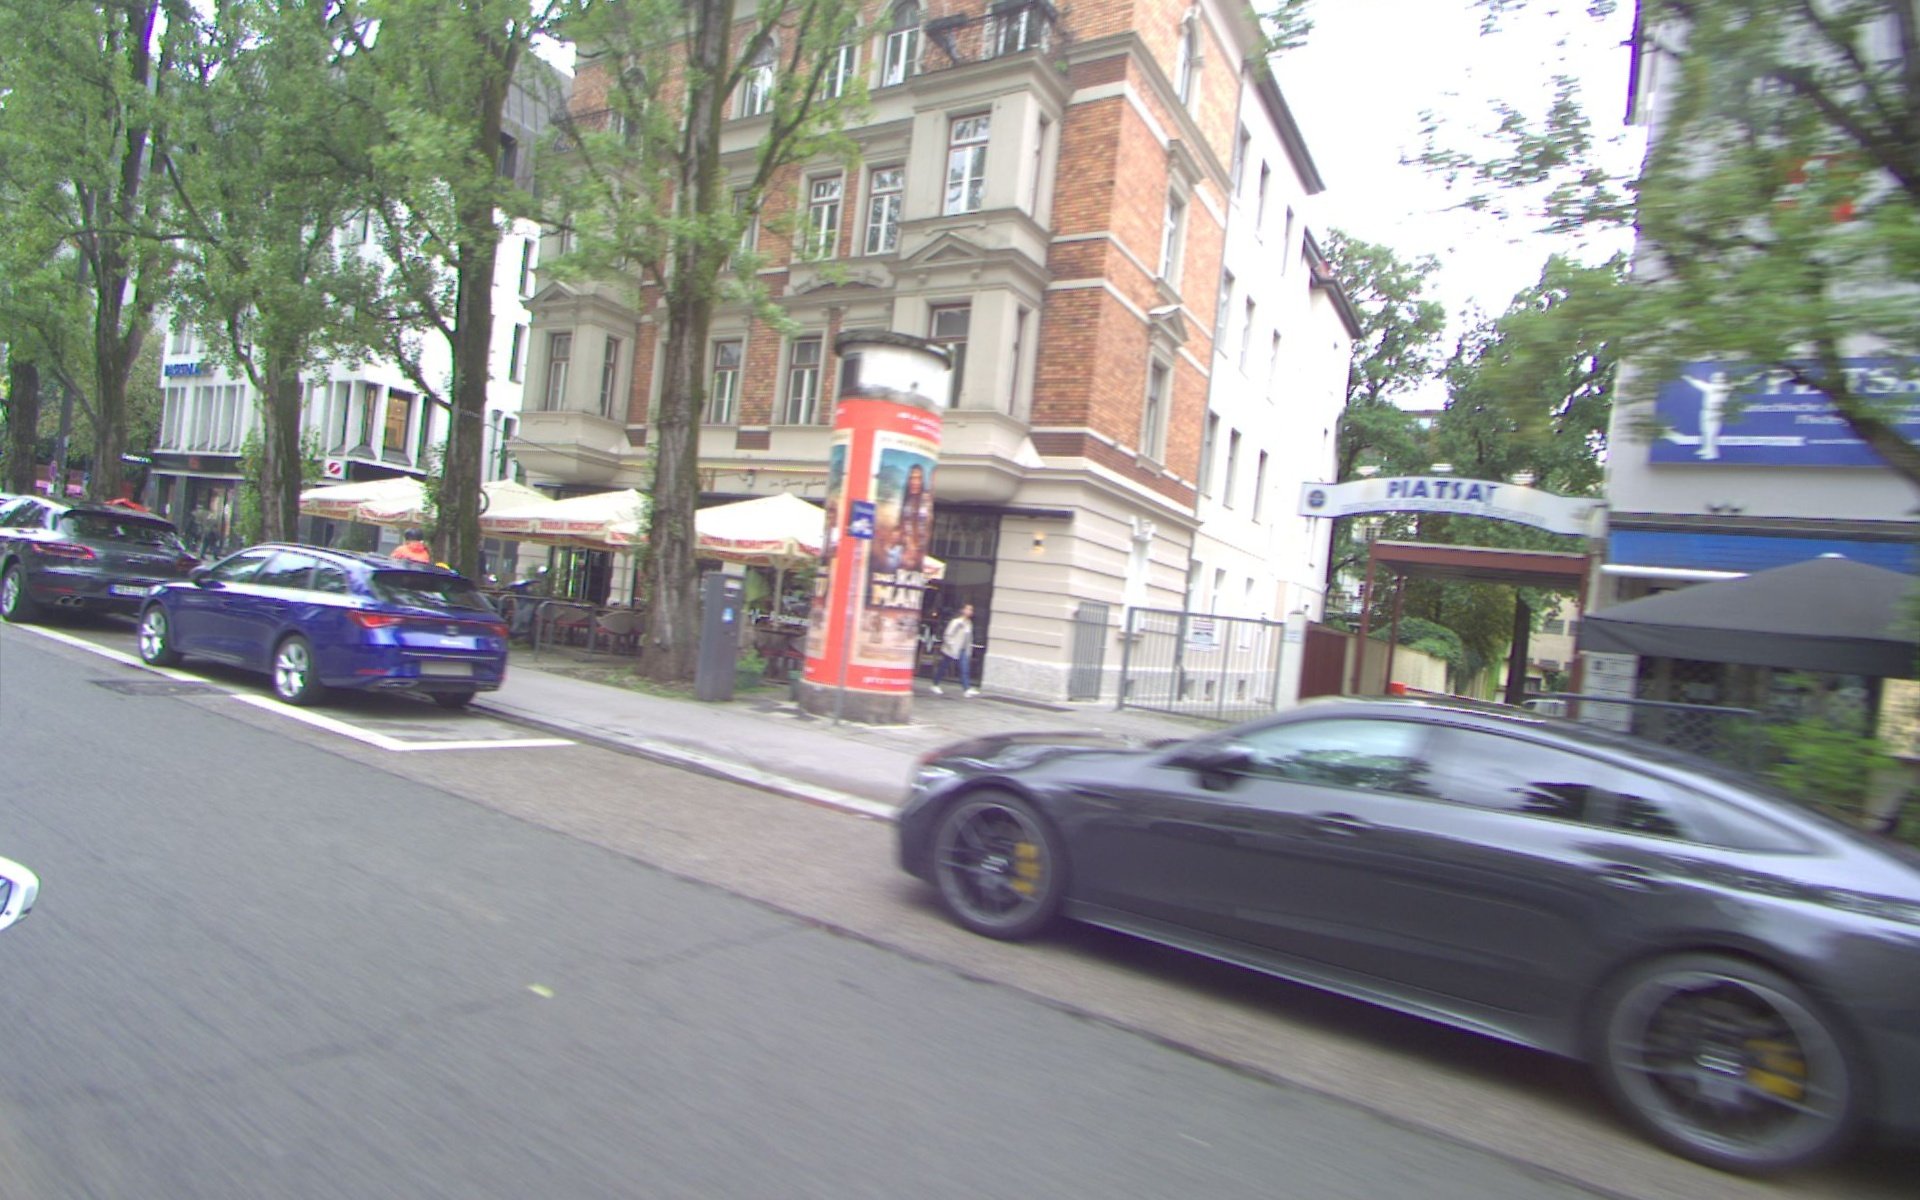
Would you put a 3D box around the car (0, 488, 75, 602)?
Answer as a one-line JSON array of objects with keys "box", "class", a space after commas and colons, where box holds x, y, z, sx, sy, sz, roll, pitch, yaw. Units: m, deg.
[{"box": [-16.601, -1.102, 16.389, 4.668, 1.640, 1.831, 7, -1, 31], "class": "car"}]

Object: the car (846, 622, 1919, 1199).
[{"box": [1.962, 1.135, 4.899, 4.723, 1.450, 1.881, 7, 0, 31], "class": "car"}]

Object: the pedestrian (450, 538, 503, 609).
[{"box": [-12.558, -0.690, 26.131, 0.916, 1.698, 0.730, 7, 1, 32], "class": "pedestrian"}]

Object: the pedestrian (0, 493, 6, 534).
[{"box": [-42.415, -3.855, 44.013, 0.845, 1.771, 0.654, 6, -1, 32], "class": "pedestrian"}]

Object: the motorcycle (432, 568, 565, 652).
[{"box": [-7.380, 0.194, 16.184, 0.683, 1.194, 1.834, 7, 0, 26], "class": "motorcycle"}]

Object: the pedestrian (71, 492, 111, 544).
[{"box": [-31.803, -2.989, 36.800, 0.845, 1.771, 0.728, 6, -1, 32], "class": "pedestrian"}]

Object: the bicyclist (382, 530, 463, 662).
[{"box": [-6.898, -0.040, 12.924, 0.473, 1.608, 0.622, 7, 1, 31], "class": "bicyclist"}]

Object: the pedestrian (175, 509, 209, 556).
[{"box": [-28.363, -2.491, 37.150, 0.692, 1.647, 0.654, 7, 1, 29], "class": "pedestrian"}]

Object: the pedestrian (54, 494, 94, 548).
[{"box": [-28.260, -2.519, 32.085, 0.693, 1.619, 0.655, 6, -1, 32], "class": "pedestrian"}]

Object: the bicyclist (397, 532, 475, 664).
[{"box": [-6.645, -0.013, 12.772, 0.385, 1.608, 0.622, 7, 1, 31], "class": "bicyclist"}]

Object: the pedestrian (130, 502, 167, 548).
[{"box": [-31.215, -2.877, 38.698, 0.753, 1.645, 0.736, 6, -1, 32], "class": "pedestrian"}]

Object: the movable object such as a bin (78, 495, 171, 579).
[{"box": [-19.483, -1.467, 23.464, 1.559, 1.724, 1.035, 7, 1, 28], "class": "movable object such as a bin"}]

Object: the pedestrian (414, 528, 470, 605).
[{"box": [-13.137, -0.852, 25.505, 0.916, 1.825, 0.730, 7, 1, 32], "class": "pedestrian"}]

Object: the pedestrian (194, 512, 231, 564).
[{"box": [-25.337, -2.083, 34.080, 0.692, 1.647, 0.654, 7, 1, 29], "class": "pedestrian"}]

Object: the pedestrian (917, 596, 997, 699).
[{"box": [-0.047, 0.822, 17.412, 0.974, 1.629, 0.730, 7, 1, 32], "class": "pedestrian"}]

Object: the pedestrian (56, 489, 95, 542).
[{"box": [-33.407, -3.184, 38.009, 0.671, 1.834, 0.794, 7, 1, 30], "class": "pedestrian"}]

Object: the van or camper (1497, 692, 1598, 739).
[{"box": [30.832, 6.039, 52.883, 1.847, 1.771, 4.041, 7, 0, -35], "class": "van or camper"}]

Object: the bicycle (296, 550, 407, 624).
[{"box": [-11.275, -0.219, 18.705, 0.413, 1.207, 1.715, 7, 0, 27], "class": "bicycle"}]

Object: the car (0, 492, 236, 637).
[{"box": [-12.201, -0.571, 13.818, 4.408, 1.584, 1.996, 7, 0, 31], "class": "car"}]

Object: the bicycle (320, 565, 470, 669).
[{"box": [-7.465, 0.212, 13.253, 2.226, 1.100, 0.627, 7, 1, 31], "class": "bicycle"}]

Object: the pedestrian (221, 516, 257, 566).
[{"box": [-25.068, -2.043, 34.960, 0.692, 1.647, 0.654, 7, 1, 29], "class": "pedestrian"}]

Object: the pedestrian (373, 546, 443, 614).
[{"box": [-11.404, -0.403, 20.807, 0.719, 1.283, 0.929, 7, 1, 30], "class": "pedestrian"}]

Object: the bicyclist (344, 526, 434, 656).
[{"box": [-7.556, -0.112, 13.319, 0.740, 1.608, 0.622, 7, 1, 31], "class": "bicyclist"}]

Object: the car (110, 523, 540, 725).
[{"box": [-6.548, 0.174, 10.262, 4.388, 1.422, 1.753, 7, 0, 29], "class": "car"}]
